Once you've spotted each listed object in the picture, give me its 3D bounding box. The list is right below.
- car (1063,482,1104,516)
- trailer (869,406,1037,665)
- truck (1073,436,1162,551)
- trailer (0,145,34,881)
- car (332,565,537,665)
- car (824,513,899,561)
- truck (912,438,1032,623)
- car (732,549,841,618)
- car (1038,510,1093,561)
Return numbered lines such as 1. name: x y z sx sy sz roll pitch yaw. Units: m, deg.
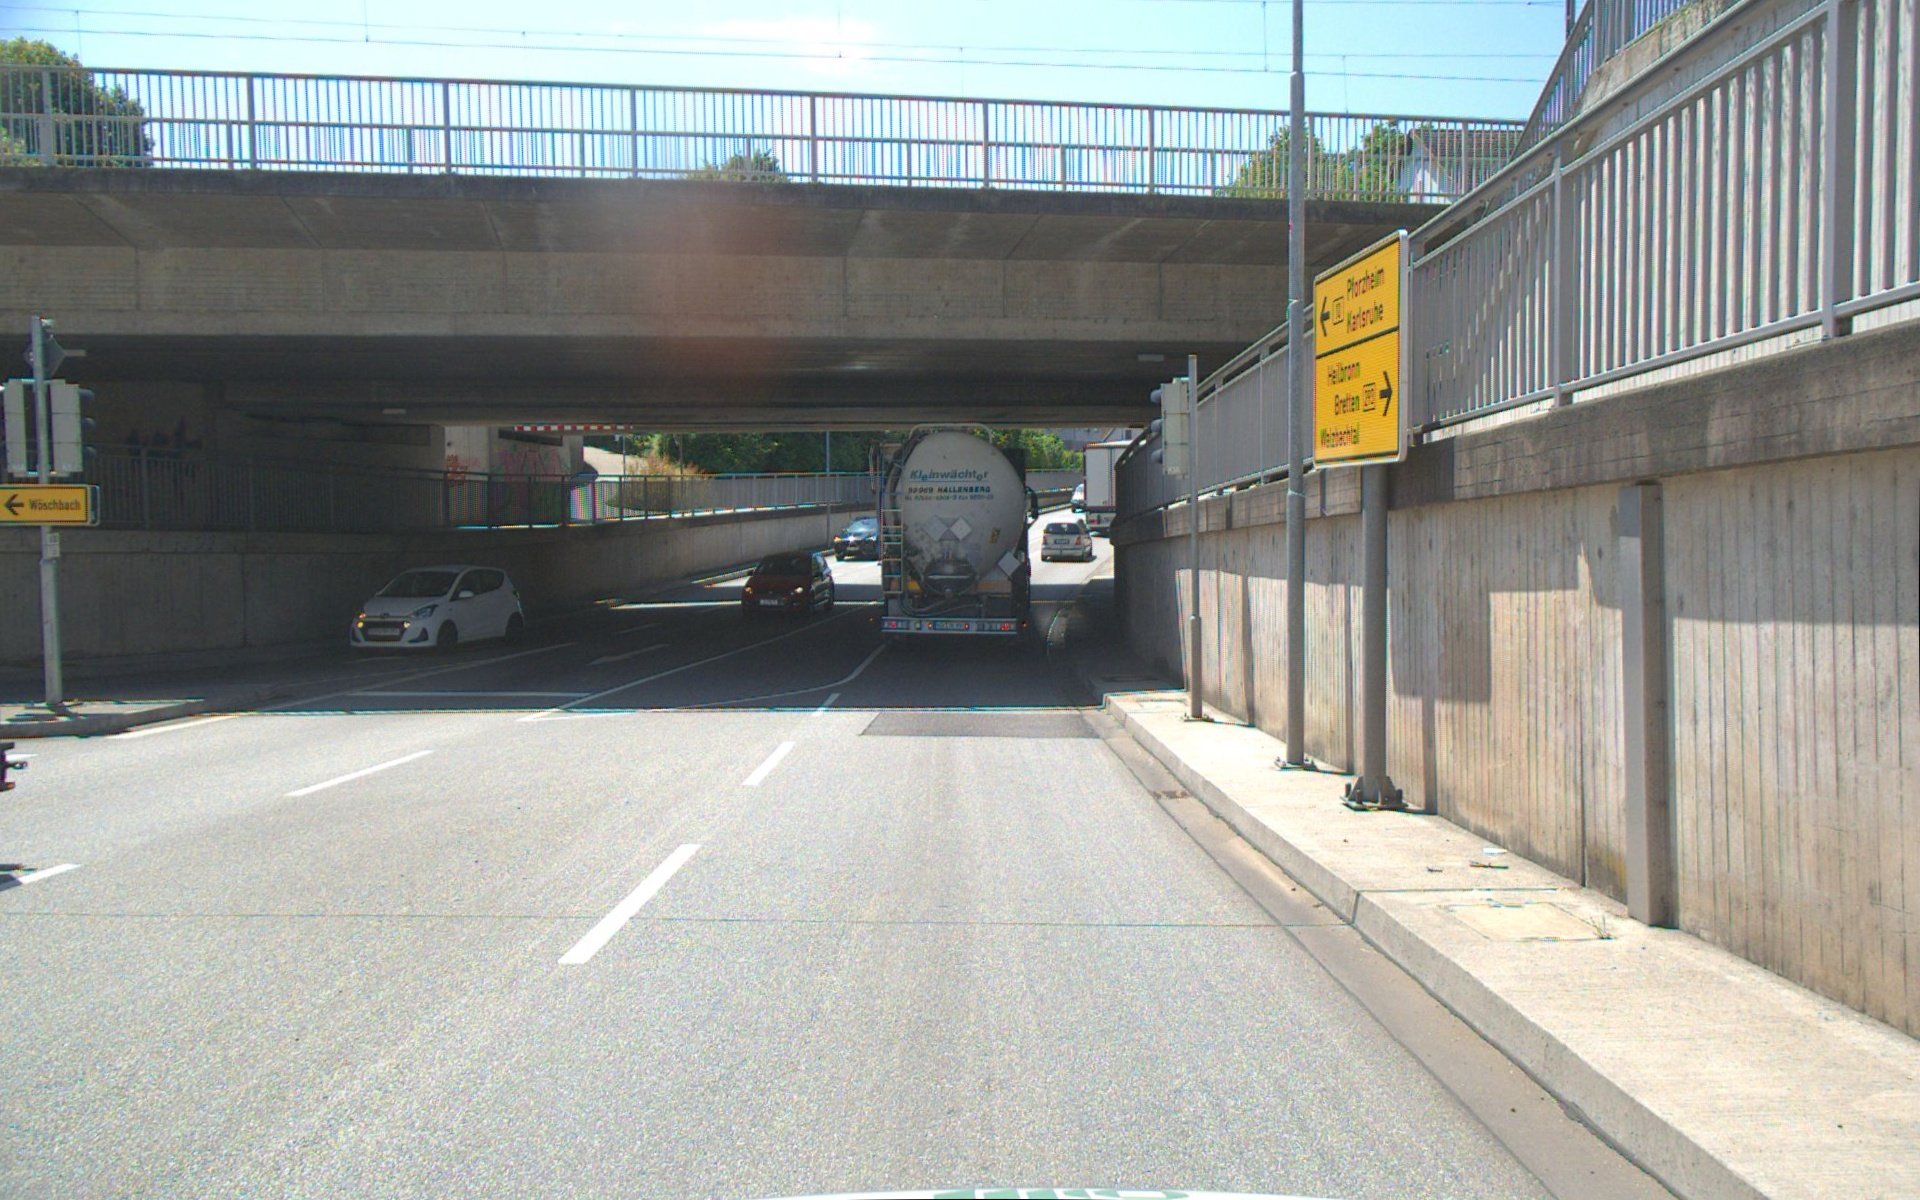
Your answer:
1. car: 7.150 -5.874 95.690 1.754 1.712 4.007 2 6 13
2. trailer: 0.121 -1.341 33.100 2.678 4.134 13.320 0 3 2
3. truck: 7.613 -5.140 78.640 3.015 5.084 10.097 1 5 12
4. trailer: -6.190 -0.394 3.729 2.634 3.727 9.889 0 1 0
5. car: -9.252 0.214 29.456 1.742 1.492 3.837 -2 3 12
6. car: -3.705 -2.429 63.070 1.857 1.556 4.006 -2 5 11
7. truck: 0.370 -1.716 40.481 2.678 4.134 6.533 0 3 2
8. car: -4.123 -0.438 39.882 1.706 1.489 3.829 0 3 8
9. car: 4.028 -2.489 62.830 1.842 1.667 4.006 0 6 7
